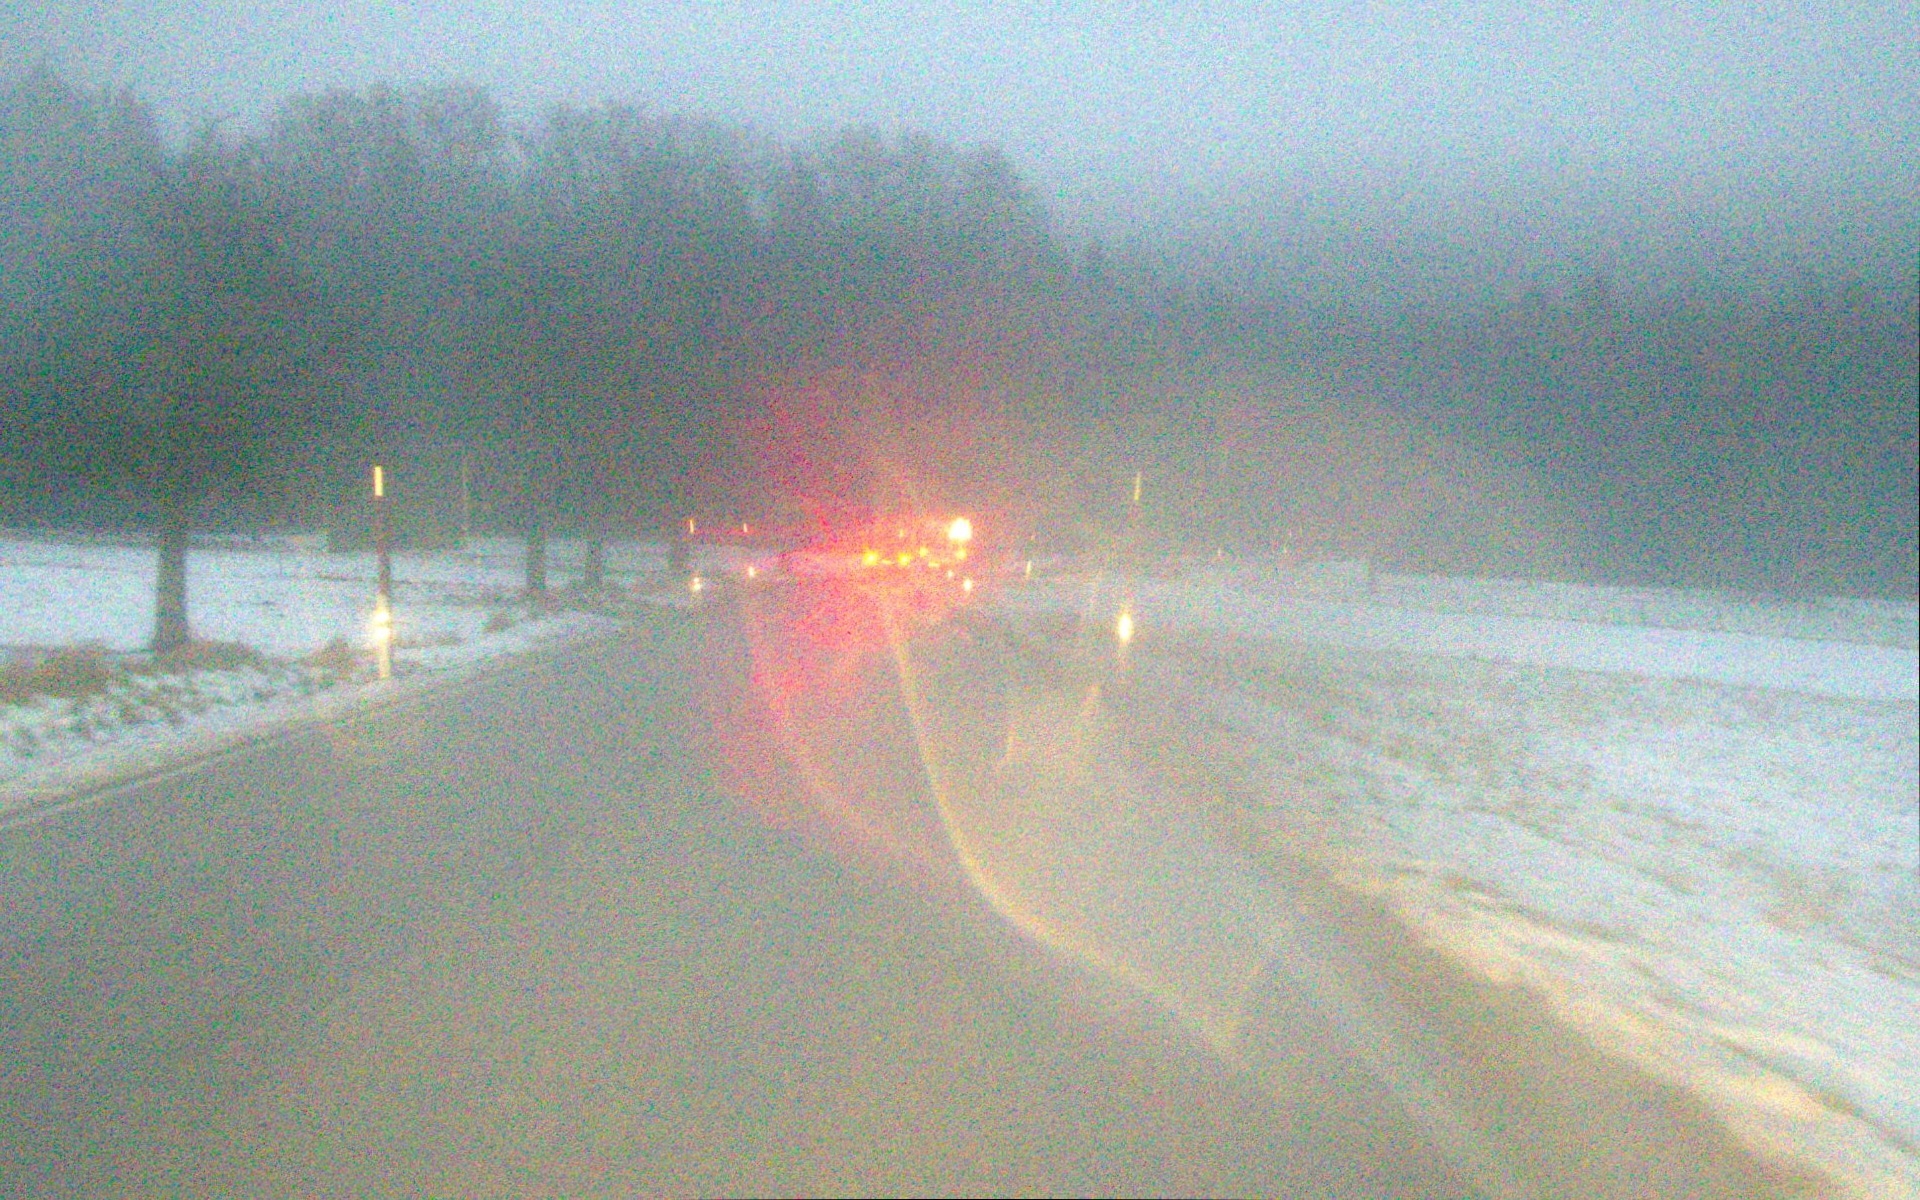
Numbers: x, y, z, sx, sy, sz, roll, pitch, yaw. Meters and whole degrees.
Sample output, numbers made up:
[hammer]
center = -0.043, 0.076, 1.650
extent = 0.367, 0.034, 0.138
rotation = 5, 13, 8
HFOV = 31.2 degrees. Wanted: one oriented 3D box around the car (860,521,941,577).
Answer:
[car]
center = -2.296, -1.979, 134.423
extent = 1.995, 2.045, 3.997
rotation = 3, 1, 16
